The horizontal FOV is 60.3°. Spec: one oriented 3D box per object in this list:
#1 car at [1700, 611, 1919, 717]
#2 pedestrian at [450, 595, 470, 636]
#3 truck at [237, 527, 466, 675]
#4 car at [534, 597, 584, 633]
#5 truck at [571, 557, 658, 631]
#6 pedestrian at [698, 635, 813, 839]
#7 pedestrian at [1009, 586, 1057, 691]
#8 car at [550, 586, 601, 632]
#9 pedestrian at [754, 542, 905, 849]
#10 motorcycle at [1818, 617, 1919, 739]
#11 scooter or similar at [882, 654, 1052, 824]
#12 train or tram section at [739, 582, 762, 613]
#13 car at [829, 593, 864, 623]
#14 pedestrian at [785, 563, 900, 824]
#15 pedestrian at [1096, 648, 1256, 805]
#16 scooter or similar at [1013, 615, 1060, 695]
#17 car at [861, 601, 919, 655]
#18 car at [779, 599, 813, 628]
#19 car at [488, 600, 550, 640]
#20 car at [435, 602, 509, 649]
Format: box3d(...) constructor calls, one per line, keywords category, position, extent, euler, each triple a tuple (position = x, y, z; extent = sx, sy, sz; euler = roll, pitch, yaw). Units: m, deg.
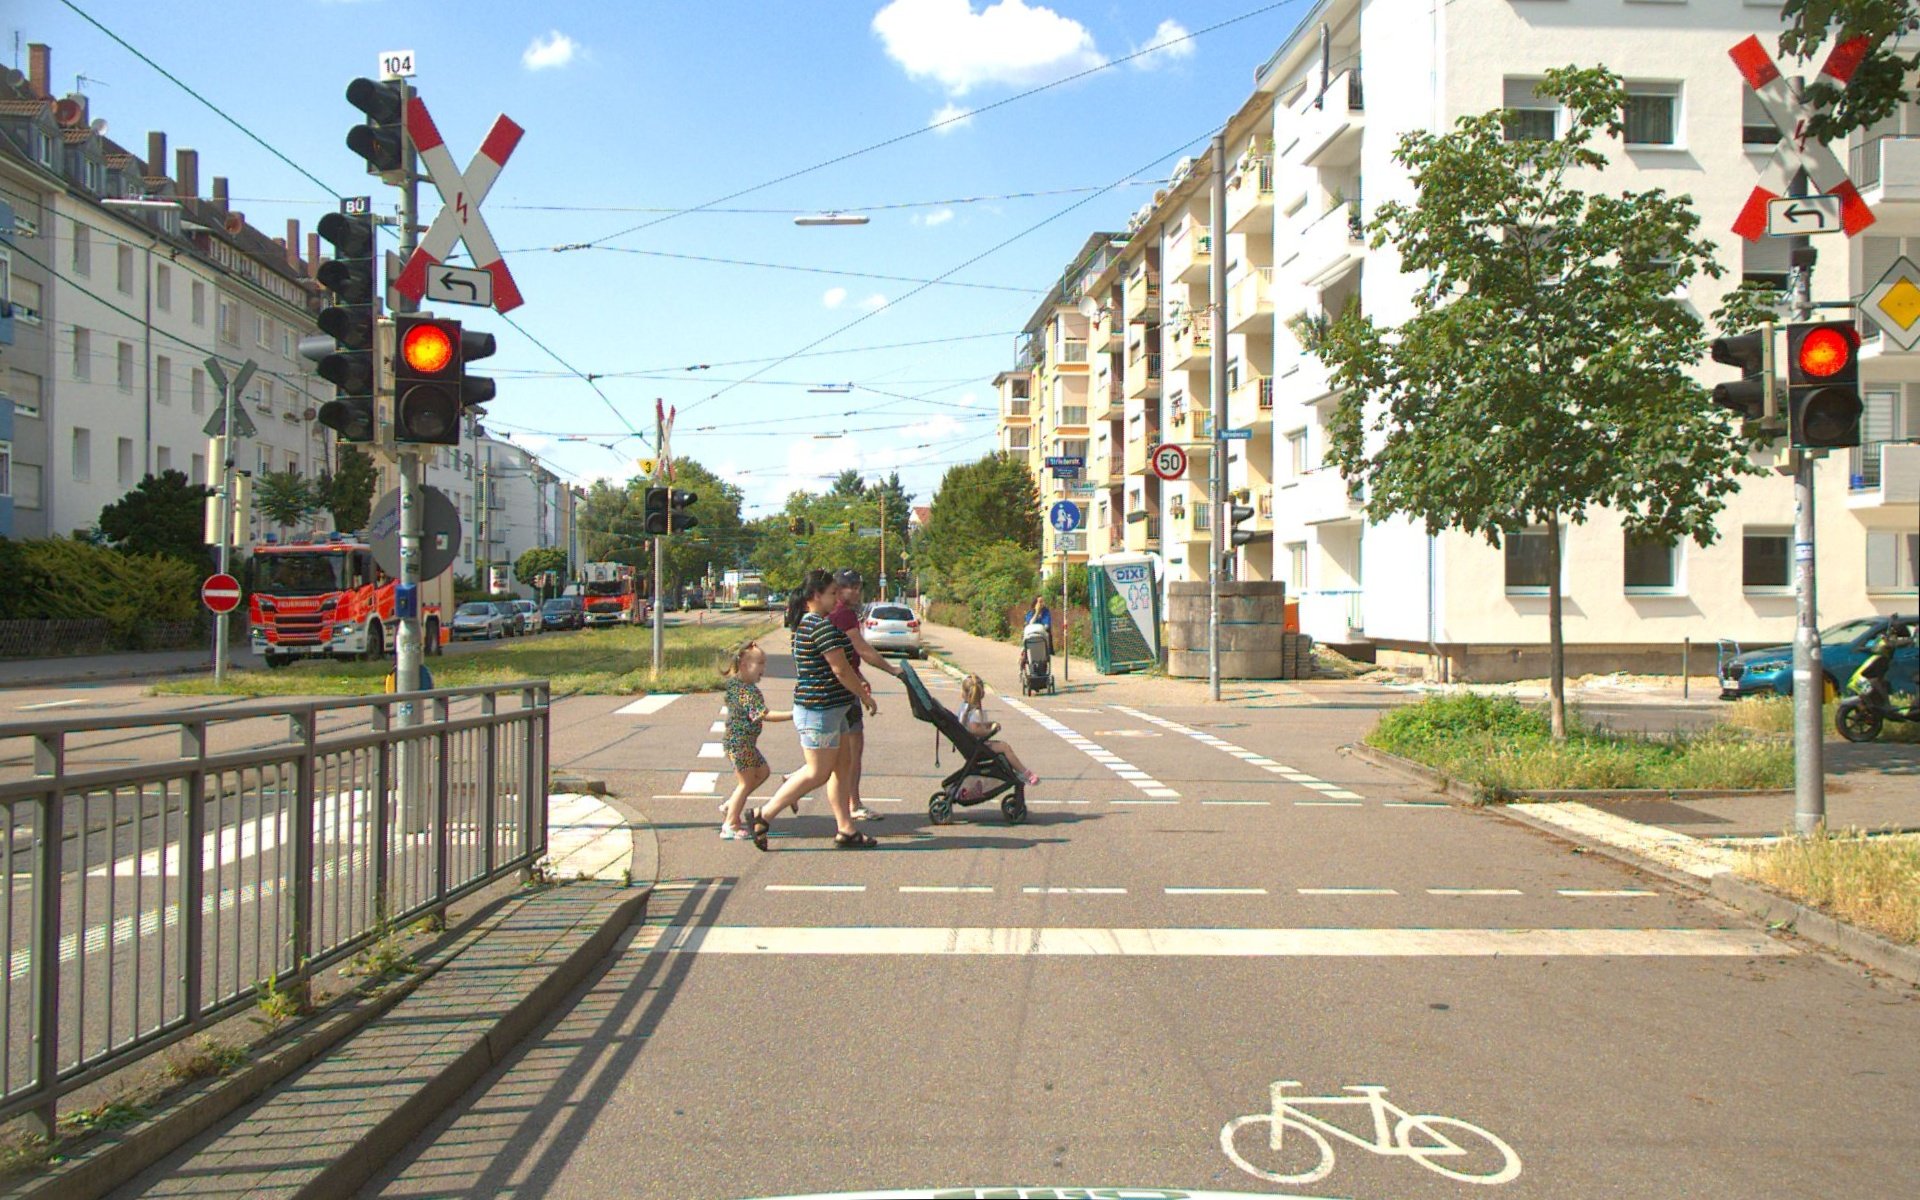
box3d(category="car", position=(13.274, 0.931, 24.222), extent=(4.081, 1.438, 1.780), euler=(2, -1, -1))
box3d(category="pedestrian", position=(-22.165, 0.679, 73.279), extent=(0.692, 1.825, 0.863), euler=(0, 0, -7))
box3d(category="truck", position=(-14.871, 0.048, 41.231), extent=(2.543, 3.241, 8.381), euler=(1, 0, 0))
box3d(category="car", position=(-20.567, 0.763, 84.888), extent=(1.873, 1.741, 3.996), euler=(2, 0, -5))
box3d(category="truck", position=(-17.794, -0.246, 85.926), extent=(2.613, 3.531, 10.163), euler=(1, 0, -2))
box3d(category="pedestrian", position=(-1.258, 0.825, 10.280), extent=(0.624, 1.201, 0.798), euler=(0, -1, -2))
box3d(category="pedestrian", position=(1.300, 0.670, 29.693), extent=(0.687, 1.820, 1.029), euler=(-3, 0, -2))
box3d(category="car", position=(-21.093, 0.475, 90.961), extent=(1.929, 2.412, 5.197), euler=(2, -1, -4))
box3d(category="pedestrian", position=(-0.769, 0.531, 9.613), extent=(0.829, 1.697, 0.797), euler=(0, -1, -7))
box3d(category="motorcycle", position=(10.218, 0.825, 17.618), extent=(0.565, 1.236, 1.826), euler=(-5, 1, -32))
box3d(category="scooter or similar", position=(0.034, 0.922, 11.148), extent=(1.078, 1.074, 0.650), euler=(1, -1, -4))
box3d(category="train or tram section", position=(-21.689, -0.294, 171.679), extent=(2.215, 3.122, 8.122), euler=(0, 0, -6))
box3d(category="car", position=(-6.149, 0.445, 89.646), extent=(1.709, 1.533, 3.998), euler=(1, 0, -2))
box3d(category="pedestrian", position=(-0.792, 0.614, 11.101), extent=(0.692, 1.677, 0.636), euler=(2, -1, -5))
box3d(category="pedestrian", position=(3.168, 1.819, 25.028), extent=(1.952, 2.049, 4.001), euler=(1, -1, 1))
box3d(category="scooter or similar", position=(1.330, 0.951, 28.824), extent=(0.649, 1.326, 0.868), euler=(-3, 0, -4))
box3d(category="car", position=(-2.057, 0.798, 48.228), extent=(1.590, 1.490, 3.508), euler=(2, 0, -3))
box3d(category="car", position=(-9.163, 0.751, 92.762), extent=(1.709, 1.533, 3.997), euler=(2, 0, -4))
box3d(category="car", position=(-19.950, 0.899, 75.016), extent=(1.954, 1.741, 3.996), euler=(2, 0, -5))
box3d(category="car", position=(-18.897, 0.970, 64.170), extent=(1.955, 1.741, 3.995), euler=(2, 0, -5))
